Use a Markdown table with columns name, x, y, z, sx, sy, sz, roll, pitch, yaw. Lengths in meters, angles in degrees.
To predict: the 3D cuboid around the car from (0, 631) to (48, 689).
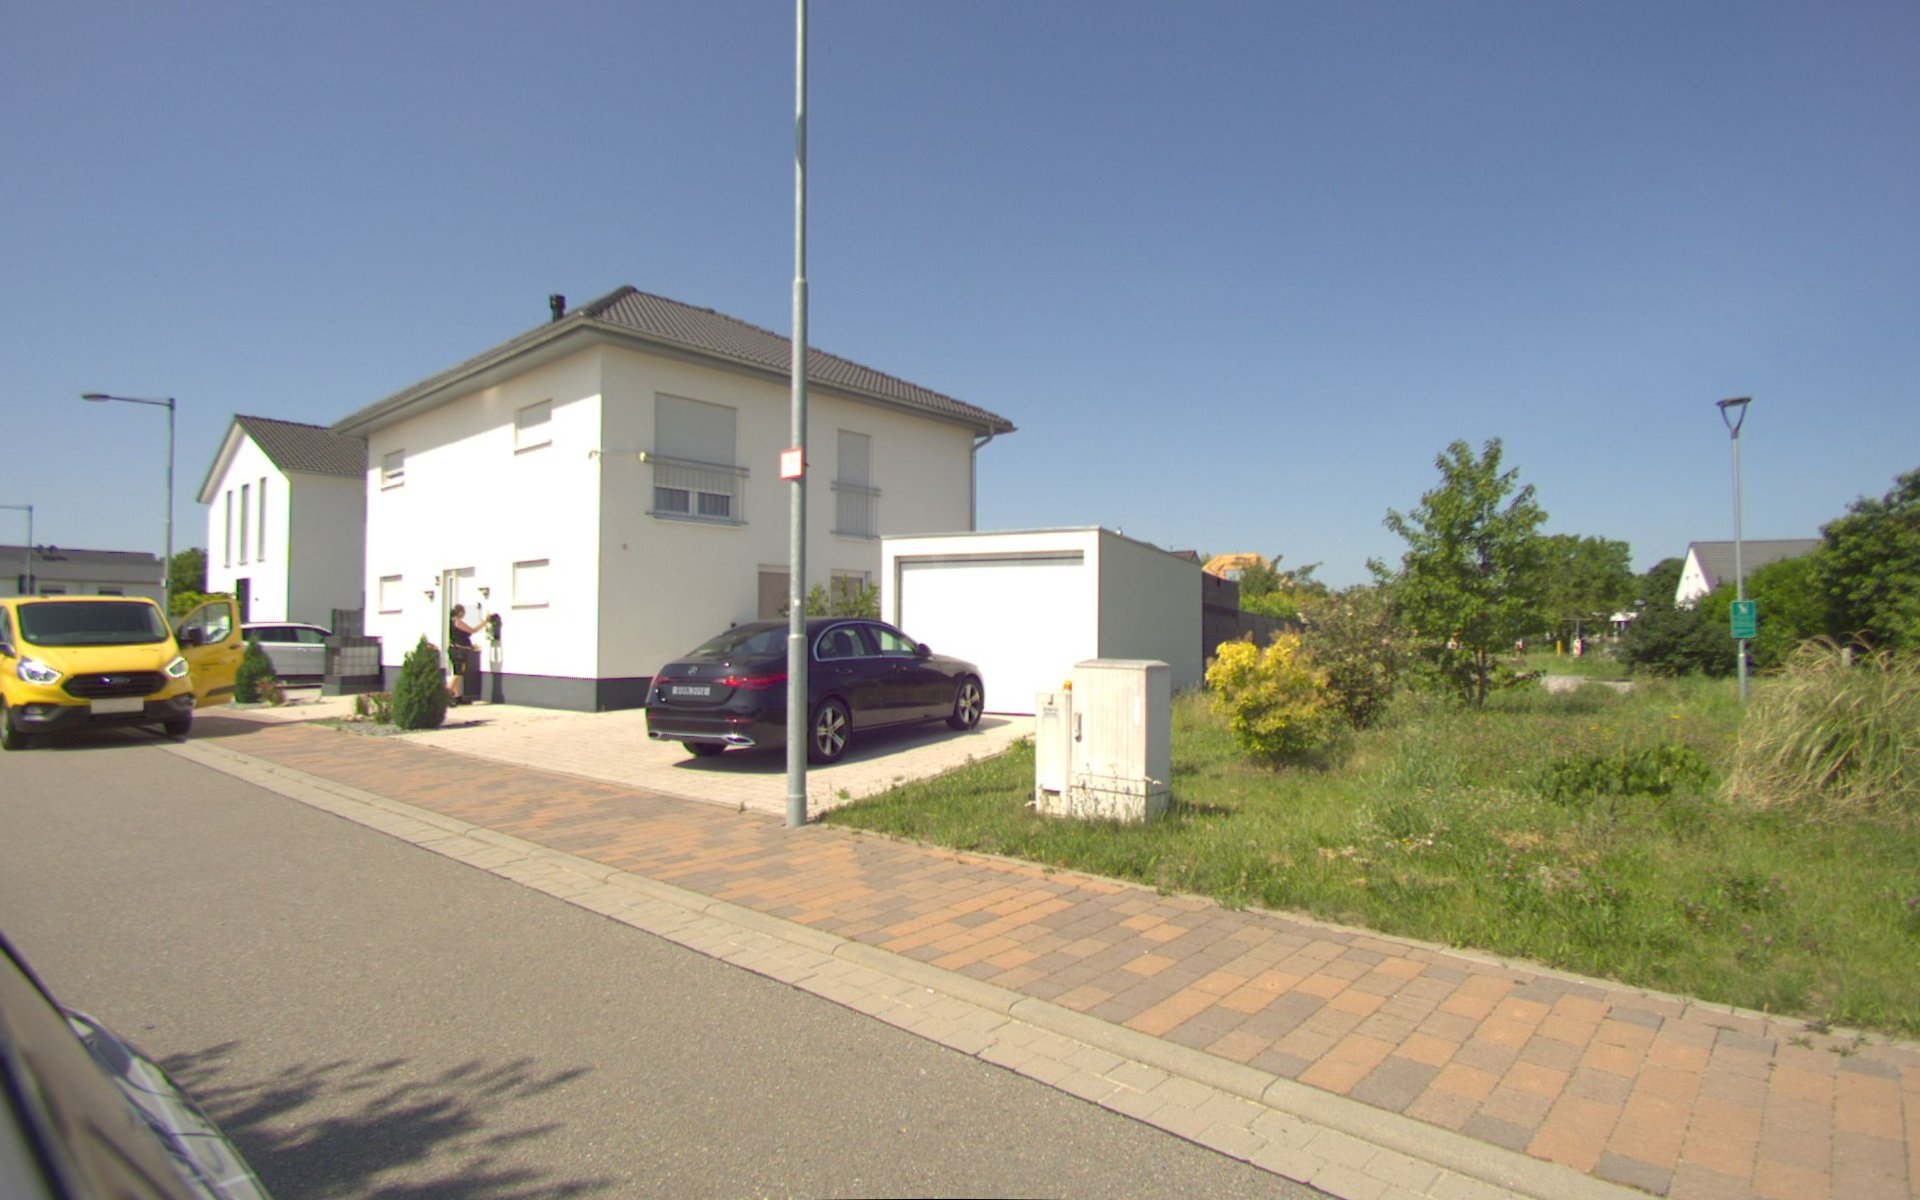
| name | x | y | z | sx | sy | sz | roll | pitch | yaw |
| --- | --- | --- | --- | --- | --- | --- | --- | --- | --- |
| car | -26.567 | 1.617 | 27.948 | 4.444 | 1.484 | 1.672 | -2 | -1 | 43 |

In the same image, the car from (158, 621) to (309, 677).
| name | x | y | z | sx | sy | sz | roll | pitch | yaw |
| --- | --- | --- | --- | --- | --- | --- | --- | --- | --- |
| car | -25.391 | 1.686 | 35.450 | 2.000 | 1.866 | 3.943 | -2 | -3 | 43 |

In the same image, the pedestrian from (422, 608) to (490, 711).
| name | x | y | z | sx | sy | sz | roll | pitch | yaw |
| --- | --- | --- | --- | --- | --- | --- | --- | --- | --- |
| pedestrian | -8.651 | 1.003 | 17.384 | 0.918 | 1.698 | 0.538 | -1 | -1 | -38 |

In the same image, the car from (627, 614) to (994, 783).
| name | x | y | z | sx | sy | sz | roll | pitch | yaw |
| --- | --- | --- | --- | --- | --- | --- | --- | --- | --- |
| car | -1.383 | 0.904 | 11.176 | 1.741 | 1.463 | 4.364 | -1 | -1 | 29 |

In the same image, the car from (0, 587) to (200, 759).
| name | x | y | z | sx | sy | sz | roll | pitch | yaw |
| --- | --- | --- | --- | --- | --- | --- | --- | --- | --- |
| car | -12.536 | 0.921 | 14.175 | 4.835 | 2.029 | 1.866 | -2 | -2 | 38 |
